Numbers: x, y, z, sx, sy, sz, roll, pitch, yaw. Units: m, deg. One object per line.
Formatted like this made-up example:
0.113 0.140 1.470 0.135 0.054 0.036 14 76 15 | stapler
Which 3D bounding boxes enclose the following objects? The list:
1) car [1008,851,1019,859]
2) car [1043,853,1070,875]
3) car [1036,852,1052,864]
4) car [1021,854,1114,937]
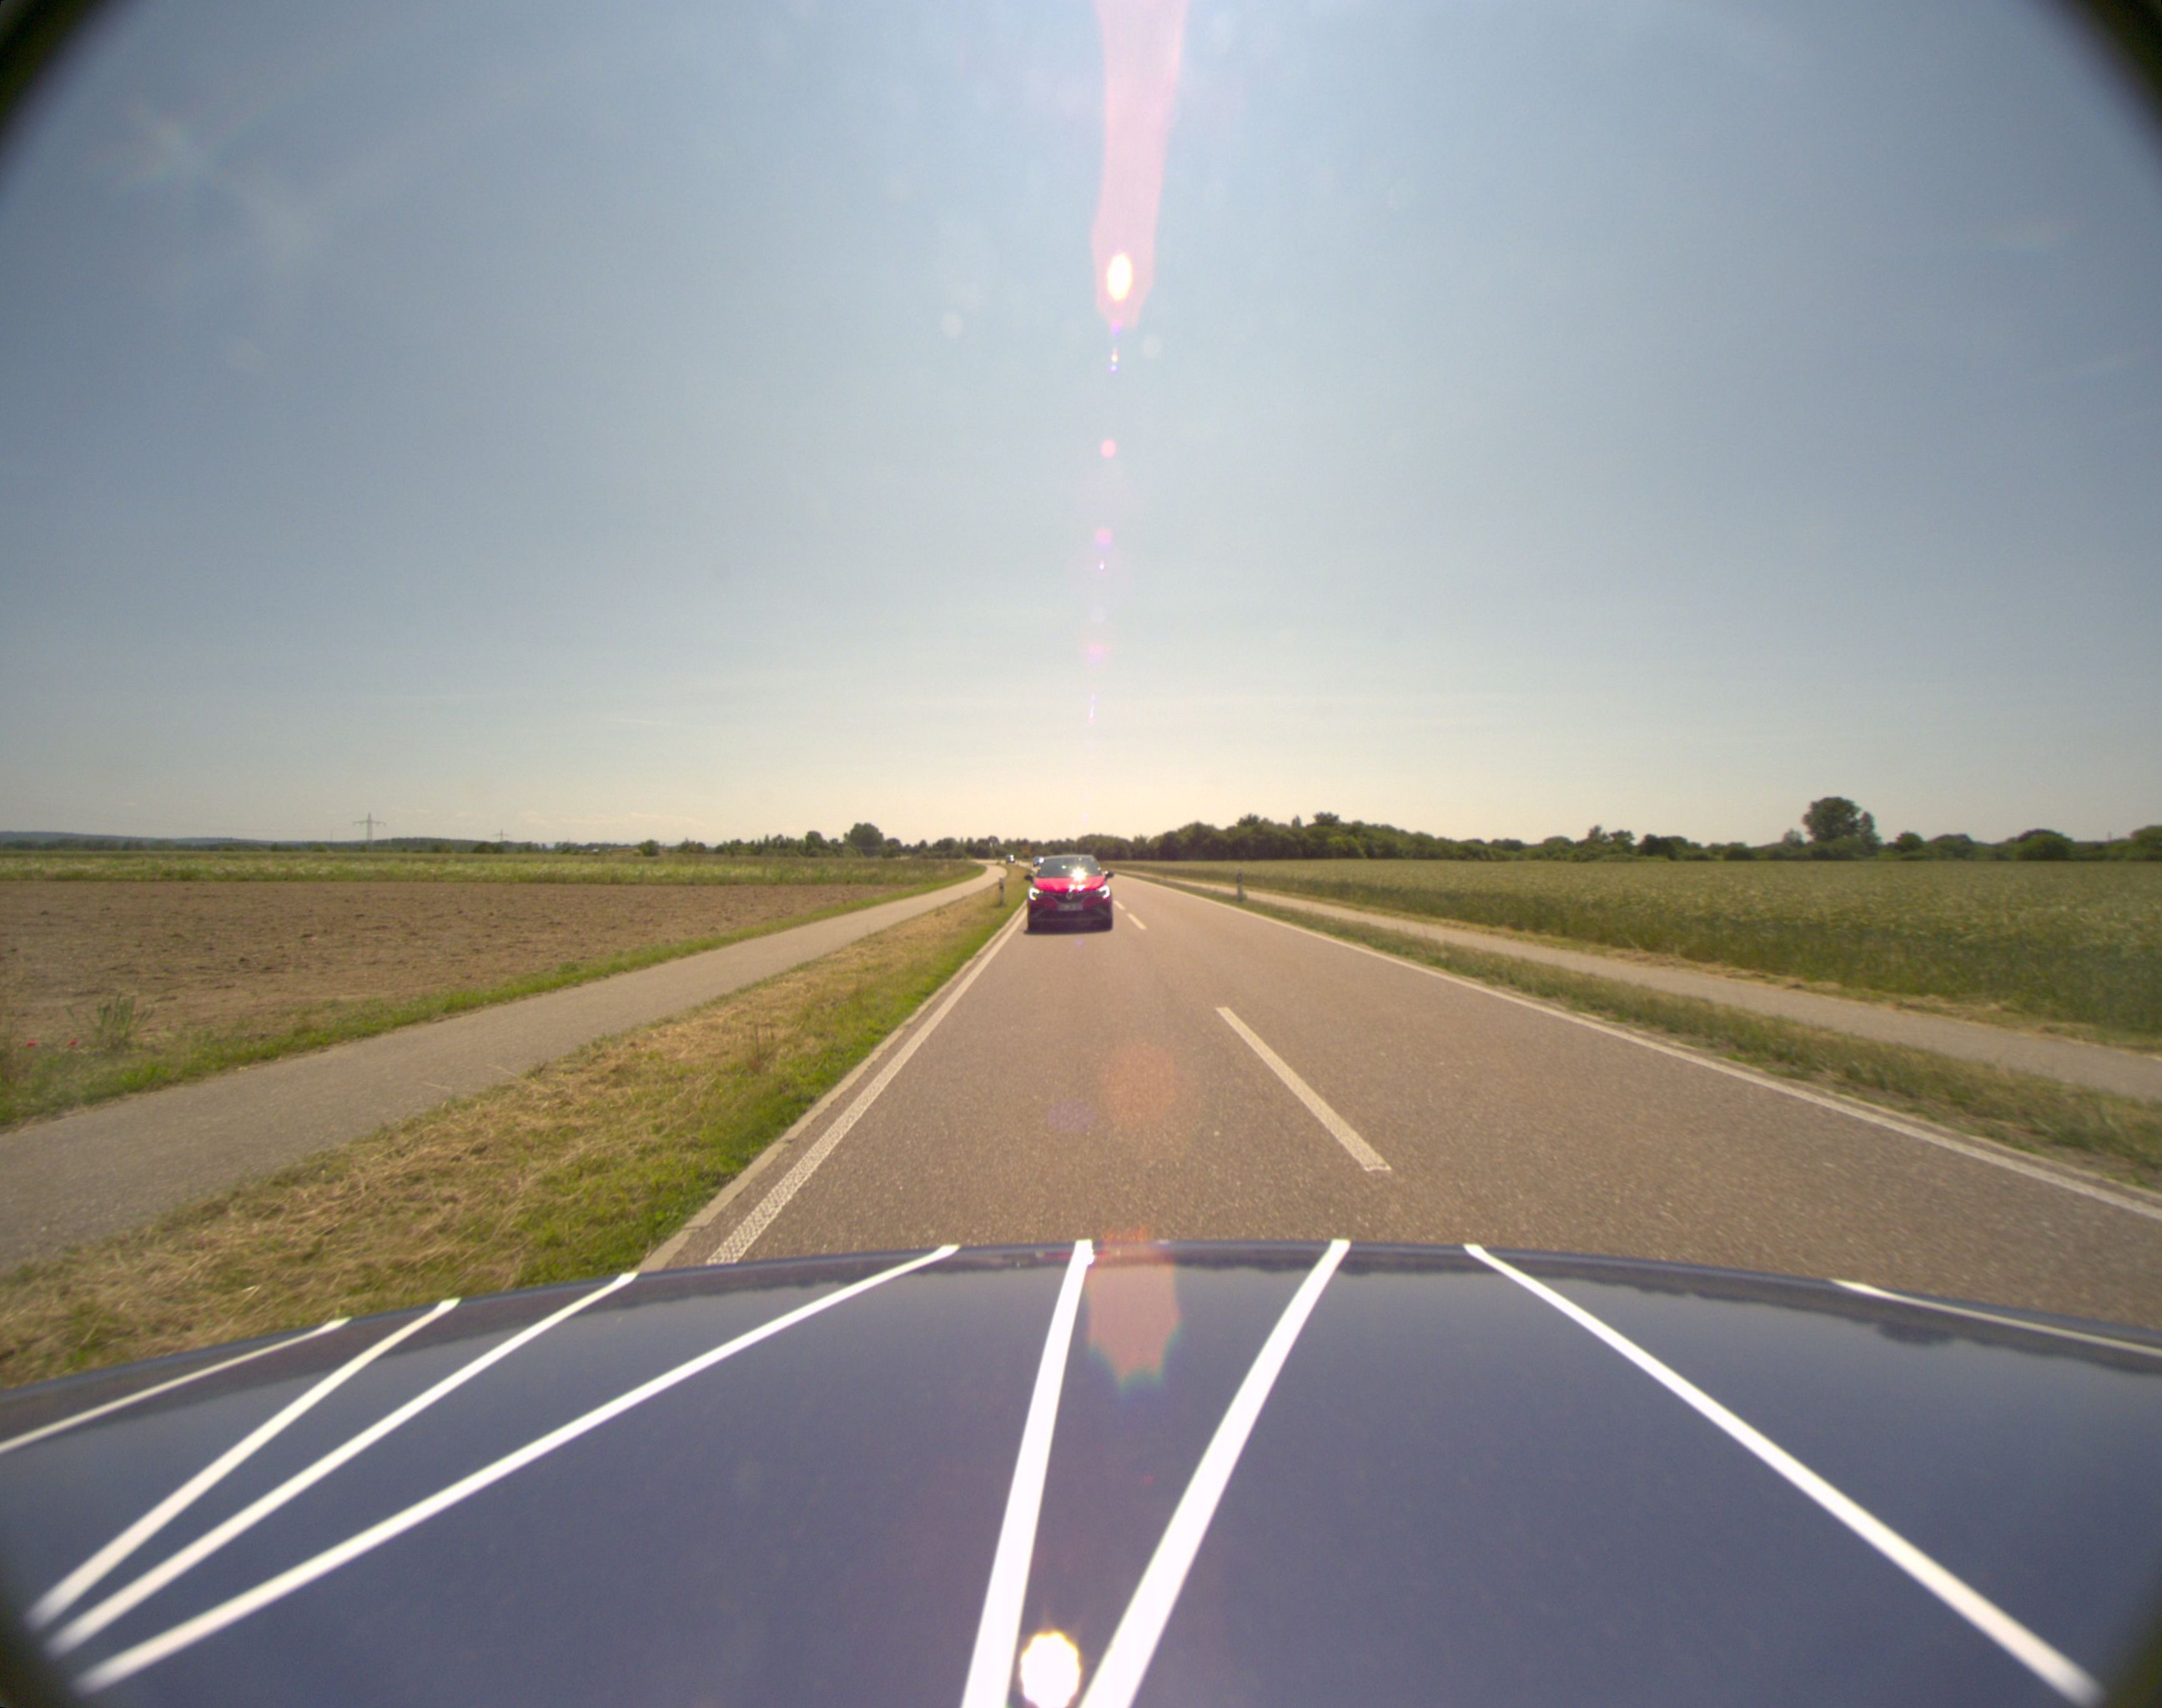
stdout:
-14.681 0.247 164.796 1.985 1.587 5.396 -1 1 -10 | car
-2.012 0.786 61.262 1.984 1.587 5.399 -1 1 -4 | car
-5.347 0.511 108.788 1.984 1.587 5.399 -1 1 -5 | car
-0.302 0.841 17.705 1.837 1.587 4.721 -1 1 -1 | car
